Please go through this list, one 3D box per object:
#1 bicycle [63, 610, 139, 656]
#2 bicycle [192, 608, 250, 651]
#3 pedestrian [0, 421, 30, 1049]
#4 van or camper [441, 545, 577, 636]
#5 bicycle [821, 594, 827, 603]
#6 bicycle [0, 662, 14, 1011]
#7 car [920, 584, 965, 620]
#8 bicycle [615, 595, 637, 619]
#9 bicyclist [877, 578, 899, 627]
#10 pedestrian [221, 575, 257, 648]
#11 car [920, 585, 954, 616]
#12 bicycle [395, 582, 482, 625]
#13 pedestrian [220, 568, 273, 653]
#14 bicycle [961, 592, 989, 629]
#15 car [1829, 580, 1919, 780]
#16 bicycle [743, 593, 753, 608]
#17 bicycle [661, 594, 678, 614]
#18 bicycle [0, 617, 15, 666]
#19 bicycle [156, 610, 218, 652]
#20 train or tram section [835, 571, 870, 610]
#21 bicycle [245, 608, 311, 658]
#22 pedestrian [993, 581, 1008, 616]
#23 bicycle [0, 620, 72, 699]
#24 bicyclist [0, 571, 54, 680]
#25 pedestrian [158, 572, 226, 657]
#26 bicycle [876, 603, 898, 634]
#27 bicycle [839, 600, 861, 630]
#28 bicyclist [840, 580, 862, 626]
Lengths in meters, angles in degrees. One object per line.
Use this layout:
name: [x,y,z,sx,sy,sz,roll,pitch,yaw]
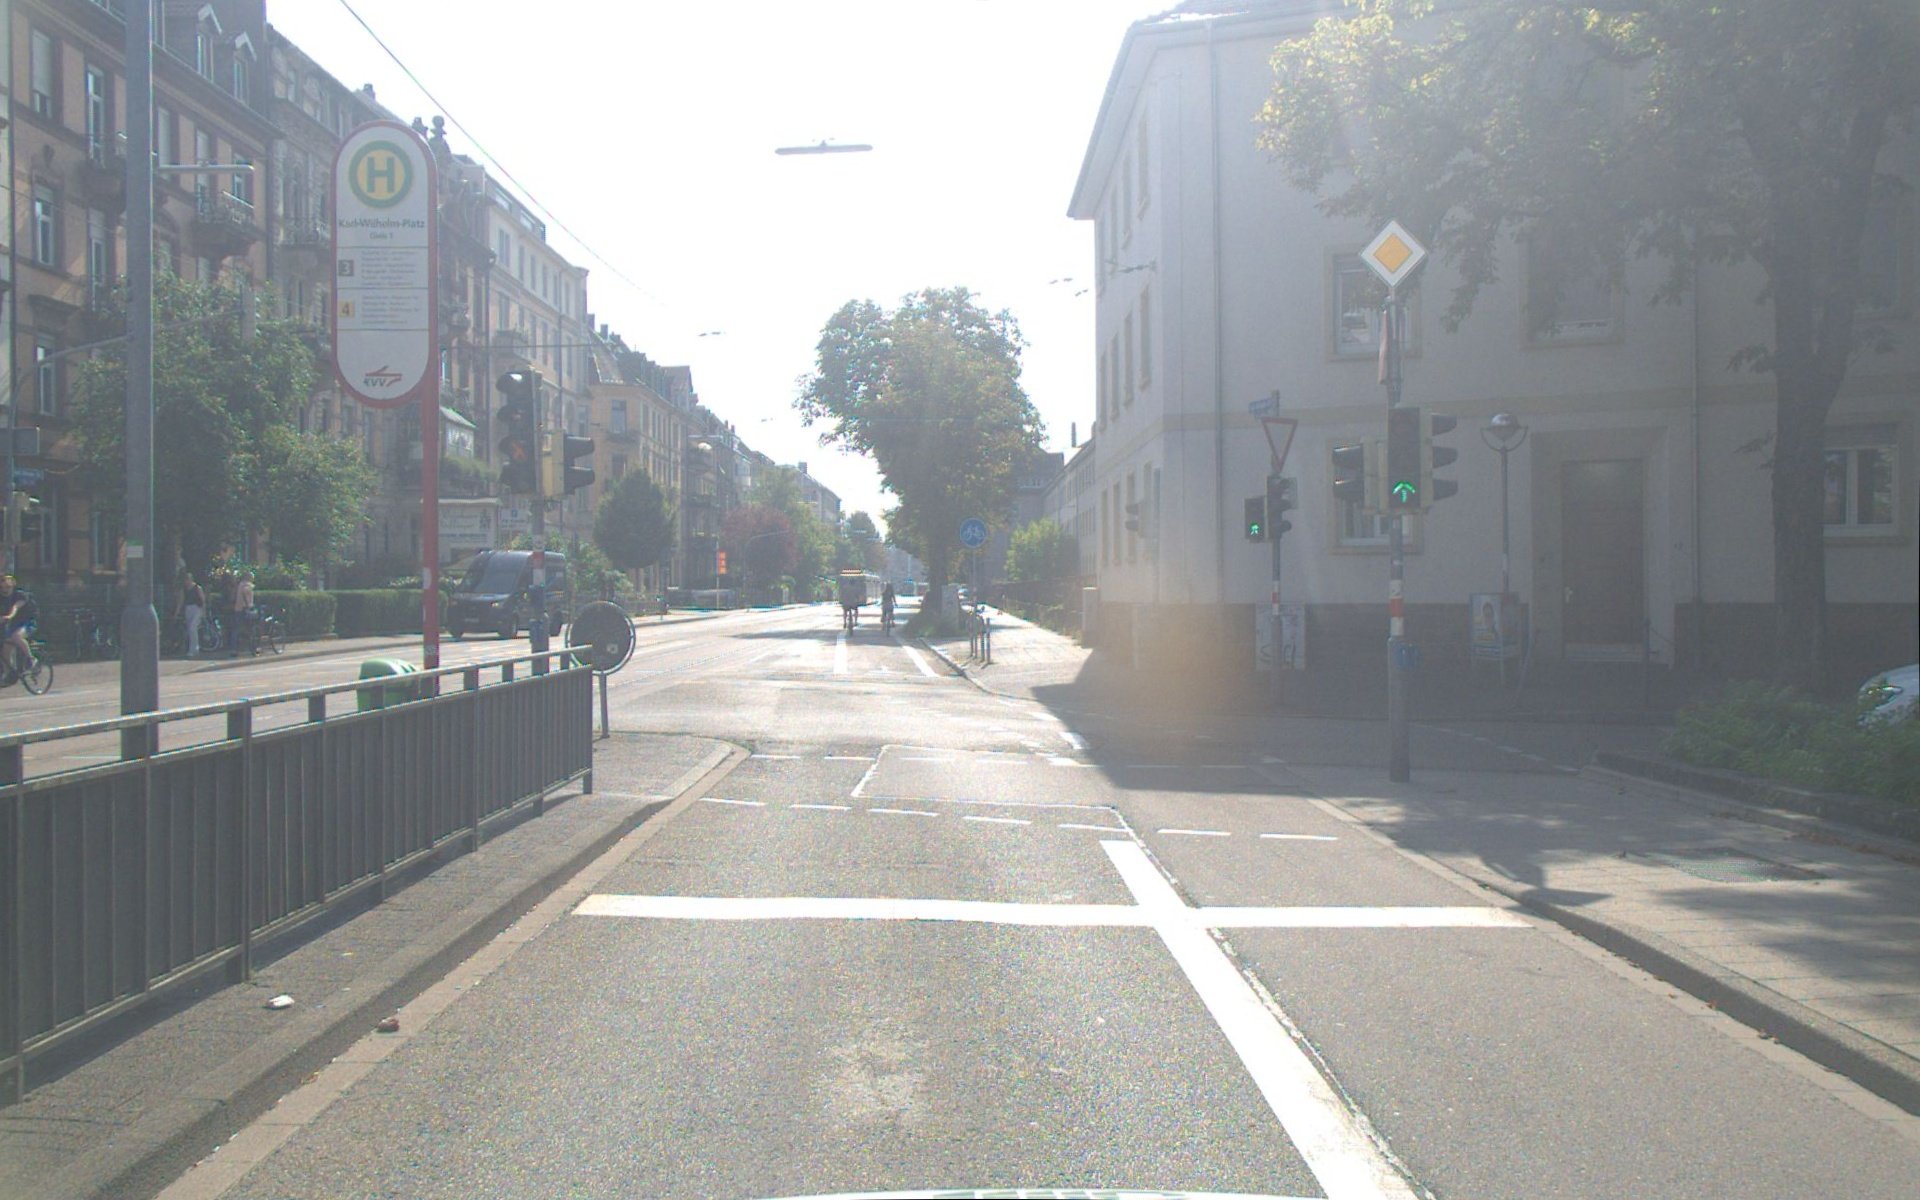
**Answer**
bicycle: [-17.575,0.668,33.879,0.515,0.875,1.829,0,1,3]
bicycle: [-17.172,0.670,38.488,0.515,0.943,1.703,0,1,3]
pedestrian: [-3.078,0.389,4.471,0.676,1.797,0.796,0,0,-2]
van or camper: [-14.195,-0.284,52.475,2.007,2.691,6.094,-1,0,6]
bicycle: [-17.219,-0.187,209.510,0.549,1.242,2.114,-1,0,1]
bicycle: [-3.434,0.775,4.562,0.462,1.123,1.739,-1,0,7]
car: [-0.767,0.083,75.433,1.610,1.567,3.844,-2,0,5]
bicycle: [-16.196,0.329,80.206,0.594,1.076,1.840,3,0,1]
bicyclist: [-2.256,0.074,51.744,0.641,1.499,0.908,1,0,-1]
pedestrian: [-17.015,0.267,39.039,0.625,1.707,0.632,-1,0,-12]
car: [-1.154,0.028,83.438,1.612,1.473,4.245,-2,0,0]
bicycle: [-18.638,0.128,59.184,2.820,1.480,0.996,1,0,-7]
pedestrian: [-15.673,0.213,36.351,0.713,1.838,1.093,0,0,-2]
bicycle: [0.456,0.324,51.704,0.756,1.123,2.332,-1,0,-3]
car: [9.507,0.608,12.566,4.862,1.494,1.867,-1,3,40]
bicycle: [-16.465,0.044,128.271,0.498,1.127,2.003,-1,0,0]
bicycle: [-16.335,0.243,93.164,0.533,1.076,1.840,3,0,1]
bicycle: [-18.314,0.779,30.160,0.518,0.875,1.820,0,1,37]
bicycle: [-17.187,0.675,36.794,0.515,0.875,1.703,0,1,3]
train or tram section: [-10.434,-0.924,161.831,2.679,3.567,15.430,0,0,-1]
bicycle: [-15.161,0.718,36.822,0.606,1.024,2.150,0,1,-1]
pedestrian: [2.131,-0.083,86.853,0.736,1.779,0.879,0,0,6]
bicycle: [-14.466,0.886,25.216,0.670,1.122,2.070,0,0,2]
bicyclist: [-14.473,0.377,25.264,0.659,1.642,1.044,0,0,1]
pedestrian: [-16.613,0.302,35.802,0.886,1.797,1.186,0,0,3]
bicycle: [-2.275,0.568,51.757,0.641,0.925,1.774,1,0,-1]
bicycle: [-3.472,0.478,52.295,0.614,0.925,1.524,1,0,-1]
bicyclist: [-3.445,0.091,52.306,0.614,1.425,0.929,1,0,-1]
